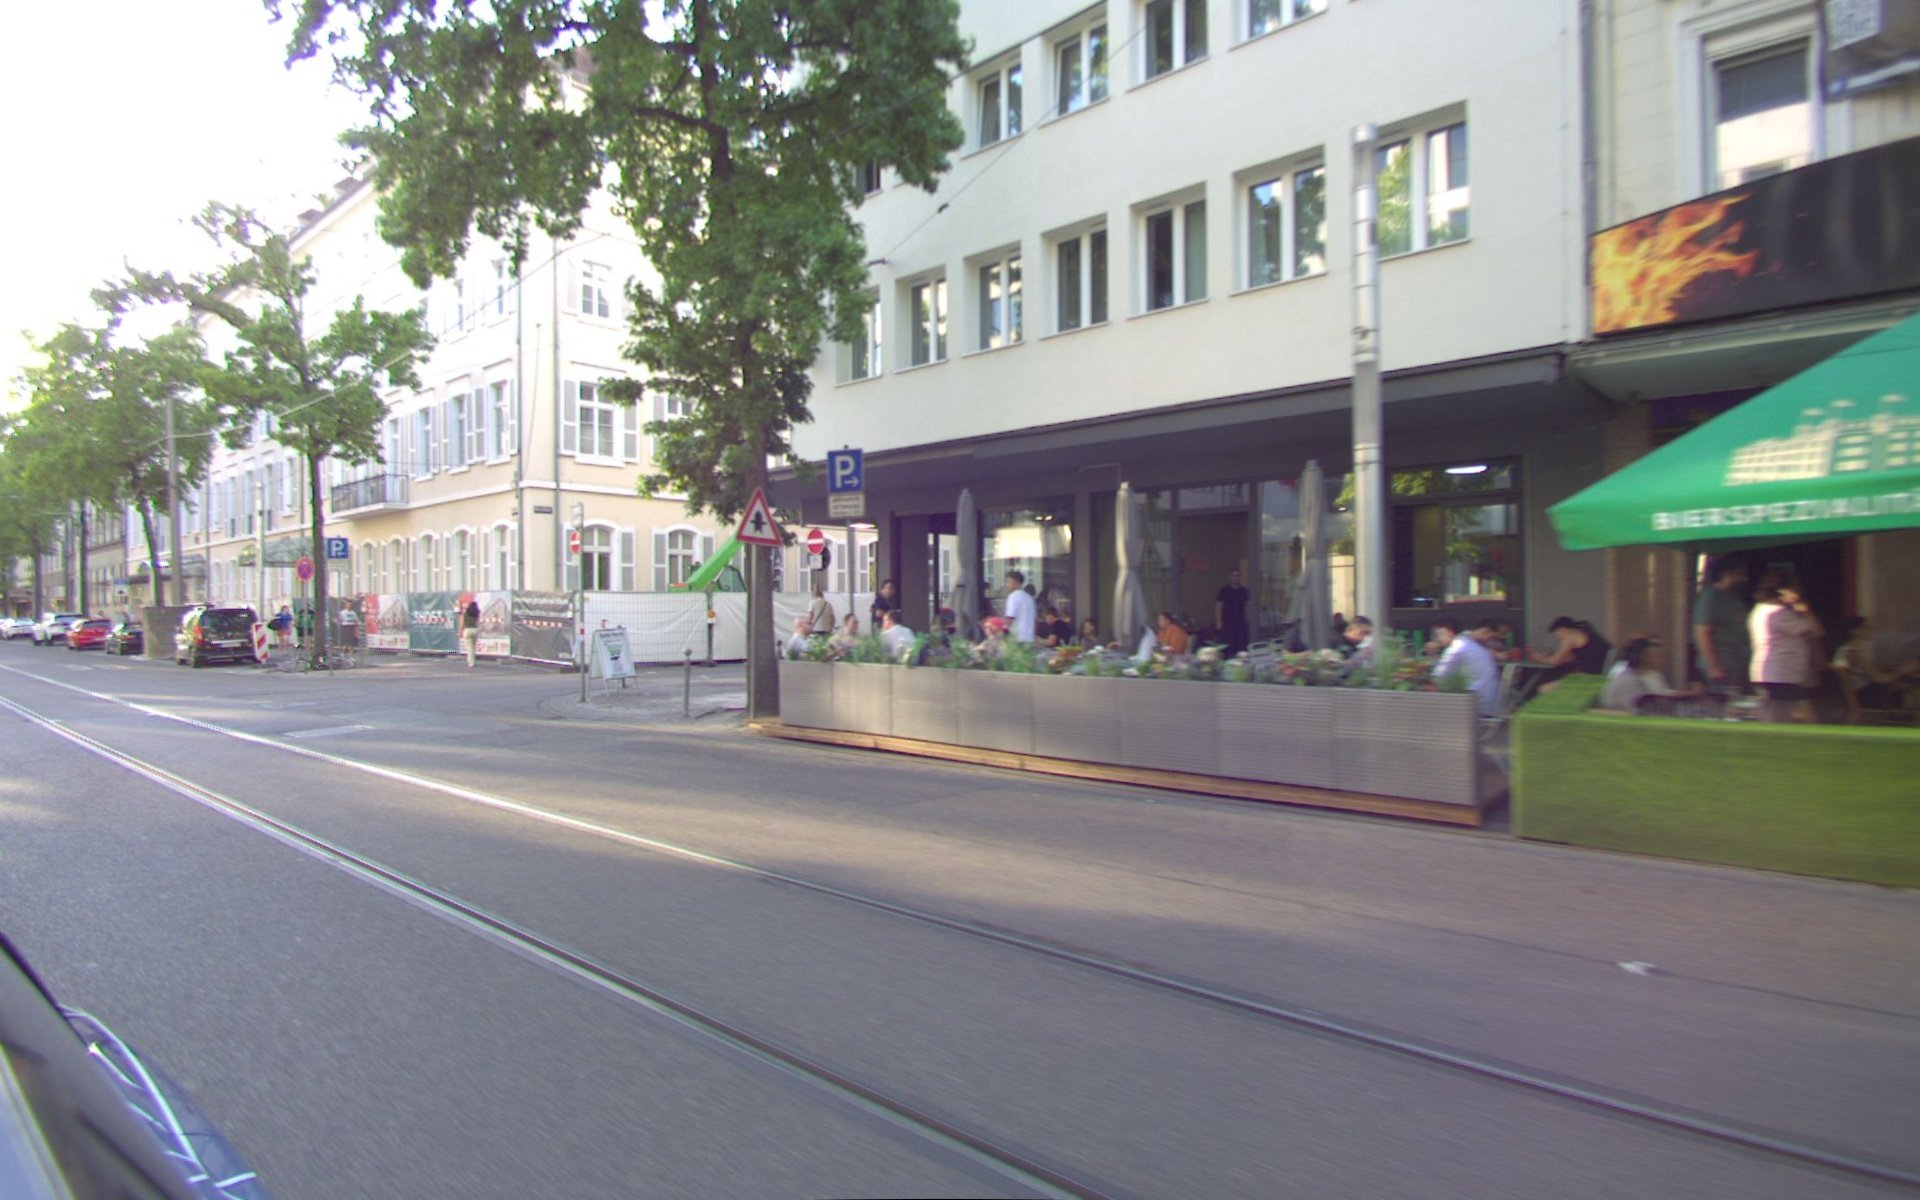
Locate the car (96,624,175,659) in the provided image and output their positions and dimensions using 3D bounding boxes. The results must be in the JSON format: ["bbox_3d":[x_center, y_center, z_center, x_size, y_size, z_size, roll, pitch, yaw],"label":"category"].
[{"bbox_3d":[-33.593,1.651,41.192,4.505,1.254,1.700,-1,2,41],"label":"car"}]

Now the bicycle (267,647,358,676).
[{"bbox_3d":[-17.024,1.610,26.606,1.282,0.613,1.775,-1,0,45],"label":"bicycle"}]

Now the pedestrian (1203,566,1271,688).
[{"bbox_3d":[4.327,0.411,15.847,0.754,1.833,0.688,-2,0,-9],"label":"pedestrian"}]

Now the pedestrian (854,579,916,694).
[{"bbox_3d":[-1.242,0.584,16.721,0.675,1.829,0.766,-2,1,-33],"label":"pedestrian"}]

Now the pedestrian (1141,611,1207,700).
[{"bbox_3d":[2.947,0.754,13.961,0.686,1.170,0.546,-1,1,42],"label":"pedestrian"}]

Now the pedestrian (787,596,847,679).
[{"bbox_3d":[-2.897,0.762,20.579,0.861,1.627,0.791,-4,-2,25],"label":"pedestrian"}]

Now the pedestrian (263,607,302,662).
[{"bbox_3d":[-23.420,1.179,34.974,0.884,1.795,0.856,-1,2,41],"label":"pedestrian"}]

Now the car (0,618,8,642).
[{"bbox_3d":[-75.630,2.391,78.622,4.763,1.754,1.927,-2,2,41],"label":"car"}]

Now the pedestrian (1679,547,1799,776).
[{"bbox_3d":[6.400,0.471,8.313,0.697,1.770,0.670,-1,1,43],"label":"pedestrian"}]

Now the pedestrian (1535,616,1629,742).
[{"bbox_3d":[6.228,0.766,10.133,0.687,1.183,0.595,-1,1,42],"label":"pedestrian"}]

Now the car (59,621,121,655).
[{"bbox_3d":[-40.300,1.742,46.848,4.140,1.416,1.642,-1,2,42],"label":"car"}]

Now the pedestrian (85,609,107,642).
[{"bbox_3d":[-48.074,1.407,56.289,0.933,1.755,0.736,-1,1,42],"label":"pedestrian"}]

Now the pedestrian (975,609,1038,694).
[{"bbox_3d":[0.734,0.802,15.997,0.738,1.279,0.638,-1,1,42],"label":"pedestrian"}]

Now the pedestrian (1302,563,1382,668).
[{"bbox_3d":[4.424,0.174,11.719,0.686,1.170,0.546,-1,1,42],"label":"pedestrian"}]

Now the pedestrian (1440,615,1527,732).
[{"bbox_3d":[5.596,0.763,10.814,0.686,1.170,0.546,-1,1,42],"label":"pedestrian"}]

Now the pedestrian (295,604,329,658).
[{"bbox_3d":[-22.756,1.078,35.519,0.876,1.826,0.712,-1,2,41],"label":"pedestrian"}]

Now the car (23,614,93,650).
[{"bbox_3d":[-47.594,1.689,53.372,4.945,1.701,1.848,-1,2,38],"label":"car"}]

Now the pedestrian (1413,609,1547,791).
[{"bbox_3d":[4.237,0.772,8.252,0.781,1.357,0.700,-1,1,44],"label":"pedestrian"}]

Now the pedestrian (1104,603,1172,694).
[{"bbox_3d":[2.389,0.637,13.599,0.686,1.170,0.546,-1,1,42],"label":"pedestrian"}]

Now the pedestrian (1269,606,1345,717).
[{"bbox_3d":[4.281,0.738,12.483,0.686,1.308,0.596,-1,1,42],"label":"pedestrian"}]

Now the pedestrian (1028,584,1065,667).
[{"bbox_3d":[1.707,0.499,19.936,0.615,1.616,0.498,-1,-1,15],"label":"pedestrian"}]

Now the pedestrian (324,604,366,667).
[{"bbox_3d":[-18.311,1.039,30.130,0.984,1.805,0.766,-1,1,43],"label":"pedestrian"}]

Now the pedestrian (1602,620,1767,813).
[{"bbox_3d":[5.289,0.799,7.393,0.869,1.269,0.700,-1,1,44],"label":"pedestrian"}]

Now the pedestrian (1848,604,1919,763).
[{"bbox_3d":[7.915,0.675,8.386,0.798,1.251,0.663,-1,1,41],"label":"pedestrian"}]

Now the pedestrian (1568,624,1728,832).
[{"bbox_3d":[4.660,0.817,6.858,0.772,1.269,0.700,-1,1,44],"label":"pedestrian"}]

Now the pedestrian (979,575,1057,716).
[{"bbox_3d":[0.778,0.578,13.512,0.686,1.805,0.750,-1,1,38],"label":"pedestrian"}]

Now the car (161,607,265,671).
[{"bbox_3d":[-23.669,1.187,31.991,4.559,1.846,1.837,-1,0,43],"label":"car"}]

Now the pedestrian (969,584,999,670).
[{"bbox_3d":[0.454,0.510,19.376,0.398,1.616,0.623,-1,-1,-15],"label":"pedestrian"}]

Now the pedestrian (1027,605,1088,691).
[{"bbox_3d":[1.471,0.706,15.258,0.686,1.245,0.546,-1,1,42],"label":"pedestrian"}]

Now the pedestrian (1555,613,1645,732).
[{"bbox_3d":[6.715,0.736,10.620,0.687,1.167,0.595,-1,1,42],"label":"pedestrian"}]

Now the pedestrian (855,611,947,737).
[{"bbox_3d":[-0.695,0.839,11.905,0.807,1.397,0.682,-1,1,42],"label":"pedestrian"}]

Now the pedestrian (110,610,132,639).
[{"bbox_3d":[-47.368,1.374,57.146,0.933,1.592,0.736,-1,1,42],"label":"pedestrian"}]

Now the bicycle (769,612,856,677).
[{"bbox_3d":[-3.318,0.987,22.898,0.712,1.391,1.854,-5,-3,43],"label":"bicycle"}]

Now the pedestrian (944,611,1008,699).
[{"bbox_3d":[0.246,0.822,15.556,0.727,1.291,0.620,-1,1,42],"label":"pedestrian"}]

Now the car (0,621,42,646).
[{"bbox_3d":[-61.179,2.147,65.707,4.615,1.477,1.873,-2,2,42],"label":"car"}]

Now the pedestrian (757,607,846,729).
[{"bbox_3d":[-1.938,0.799,12.338,0.807,1.397,0.682,-1,1,42],"label":"pedestrian"}]

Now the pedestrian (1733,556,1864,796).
[{"bbox_3d":[6.246,0.531,7.549,0.696,1.683,0.612,-1,1,41],"label":"pedestrian"}]

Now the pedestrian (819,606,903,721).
[{"bbox_3d":[-1.283,0.792,13.070,0.807,1.397,0.682,-1,1,42],"label":"pedestrian"}]

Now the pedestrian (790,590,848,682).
[{"bbox_3d":[-2.781,0.693,19.956,0.851,1.754,0.800,-1,-2,-30],"label":"pedestrian"}]

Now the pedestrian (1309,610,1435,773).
[{"bbox_3d":[3.604,0.761,8.859,0.807,1.321,0.682,-1,1,42],"label":"pedestrian"}]

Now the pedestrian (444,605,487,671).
[{"bbox_3d":[-12.841,0.989,26.277,0.967,1.669,0.699,-2,-2,43],"label":"pedestrian"}]
